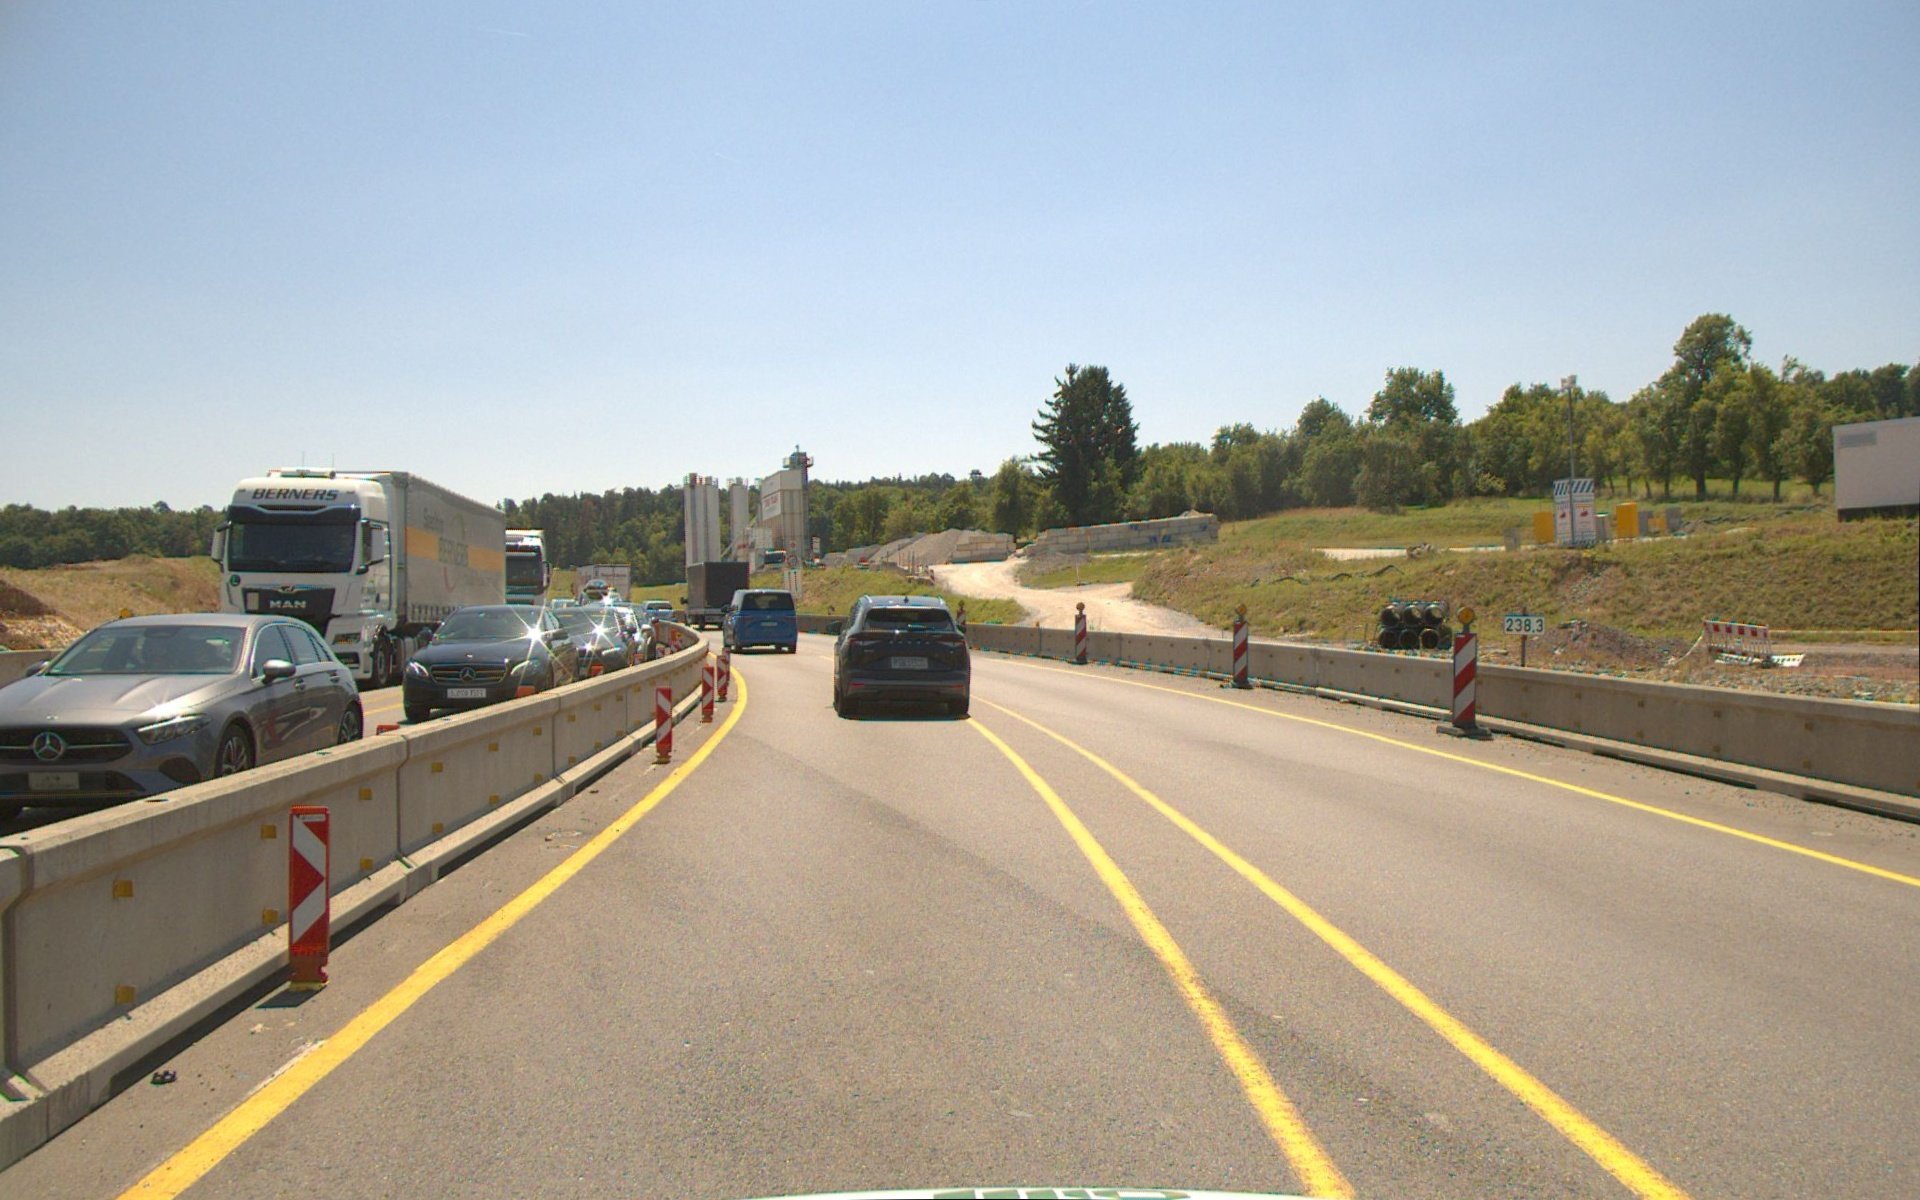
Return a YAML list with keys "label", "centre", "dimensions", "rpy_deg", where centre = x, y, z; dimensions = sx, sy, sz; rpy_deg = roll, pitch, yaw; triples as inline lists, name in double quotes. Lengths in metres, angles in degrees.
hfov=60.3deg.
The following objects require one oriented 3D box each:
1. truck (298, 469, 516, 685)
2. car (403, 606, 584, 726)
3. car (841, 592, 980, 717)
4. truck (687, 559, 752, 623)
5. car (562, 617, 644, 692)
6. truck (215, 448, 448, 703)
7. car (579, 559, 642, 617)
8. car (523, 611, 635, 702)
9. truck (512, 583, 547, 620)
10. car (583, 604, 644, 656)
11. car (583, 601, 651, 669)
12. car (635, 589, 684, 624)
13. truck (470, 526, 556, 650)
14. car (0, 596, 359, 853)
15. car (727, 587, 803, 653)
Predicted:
- label: "truck"
  centre: [-12.849, -0.533, 39.637]
  dimensions: [2.722, 4.352, 11.759]
  rpy_deg: [-1, 1, -8]
- label: "car"
  centre: [-6.292, 0.828, 22.720]
  dimensions: [1.692, 1.432, 4.124]
  rpy_deg: [-1, 0, -6]
- label: "car"
  centre: [-0.713, 0.707, 23.661]
  dimensions: [1.805, 1.609, 3.999]
  rpy_deg: [0, 1, -2]
- label: "truck"
  centre: [-12.154, -0.434, 83.193]
  dimensions: [2.628, 2.997, 5.600]
  rpy_deg: [-3, 1, -13]
- label: "car"
  centre: [-7.866, 1.147, 36.664]
  dimensions: [1.648, 1.469, 4.541]
  rpy_deg: [-1, 0, -11]
- label: "truck"
  centre: [-11.775, -0.466, 31.600]
  dimensions: [2.719, 4.334, 6.188]
  rpy_deg: [-1, 1, -8]
- label: "car"
  centre: [-26.941, -0.937, 127.028]
  dimensions: [3.386, 4.173, 9.143]
  rpy_deg: [2, 0, -20]
- label: "car"
  centre: [-6.908, 0.971, 30.292]
  dimensions: [1.625, 1.478, 4.240]
  rpy_deg: [-1, 0, -8]
- label: "truck"
  centre: [-50.781, 0.123, 194.886]
  dimensions: [3.421, 4.294, 10.324]
  rpy_deg: [1, 0, -18]
- label: "car"
  centre: [-10.559, 0.878, 50.253]
  dimensions: [1.705, 1.441, 4.781]
  rpy_deg: [-1, 0, -13]
- label: "car"
  centre: [-8.982, 0.888, 43.426]
  dimensions: [1.648, 1.571, 4.107]
  rpy_deg: [1, 1, -11]
- label: "car"
  centre: [-14.939, 0.318, 81.985]
  dimensions: [2.011, 1.553, 5.047]
  rpy_deg: [-3, 1, -14]
- label: "truck"
  centre: [-15.580, -0.414, 57.825]
  dimensions: [2.655, 4.038, 6.175]
  rpy_deg: [-1, 1, -15]
- label: "car"
  centre: [-5.945, 0.805, 12.739]
  dimensions: [1.480, 1.632, 3.949]
  rpy_deg: [0, 0, -5]
- label: "car"
  centre: [-6.027, 0.572, 50.774]
  dimensions: [1.958, 1.876, 3.989]
  rpy_deg: [-1, 1, -12]
